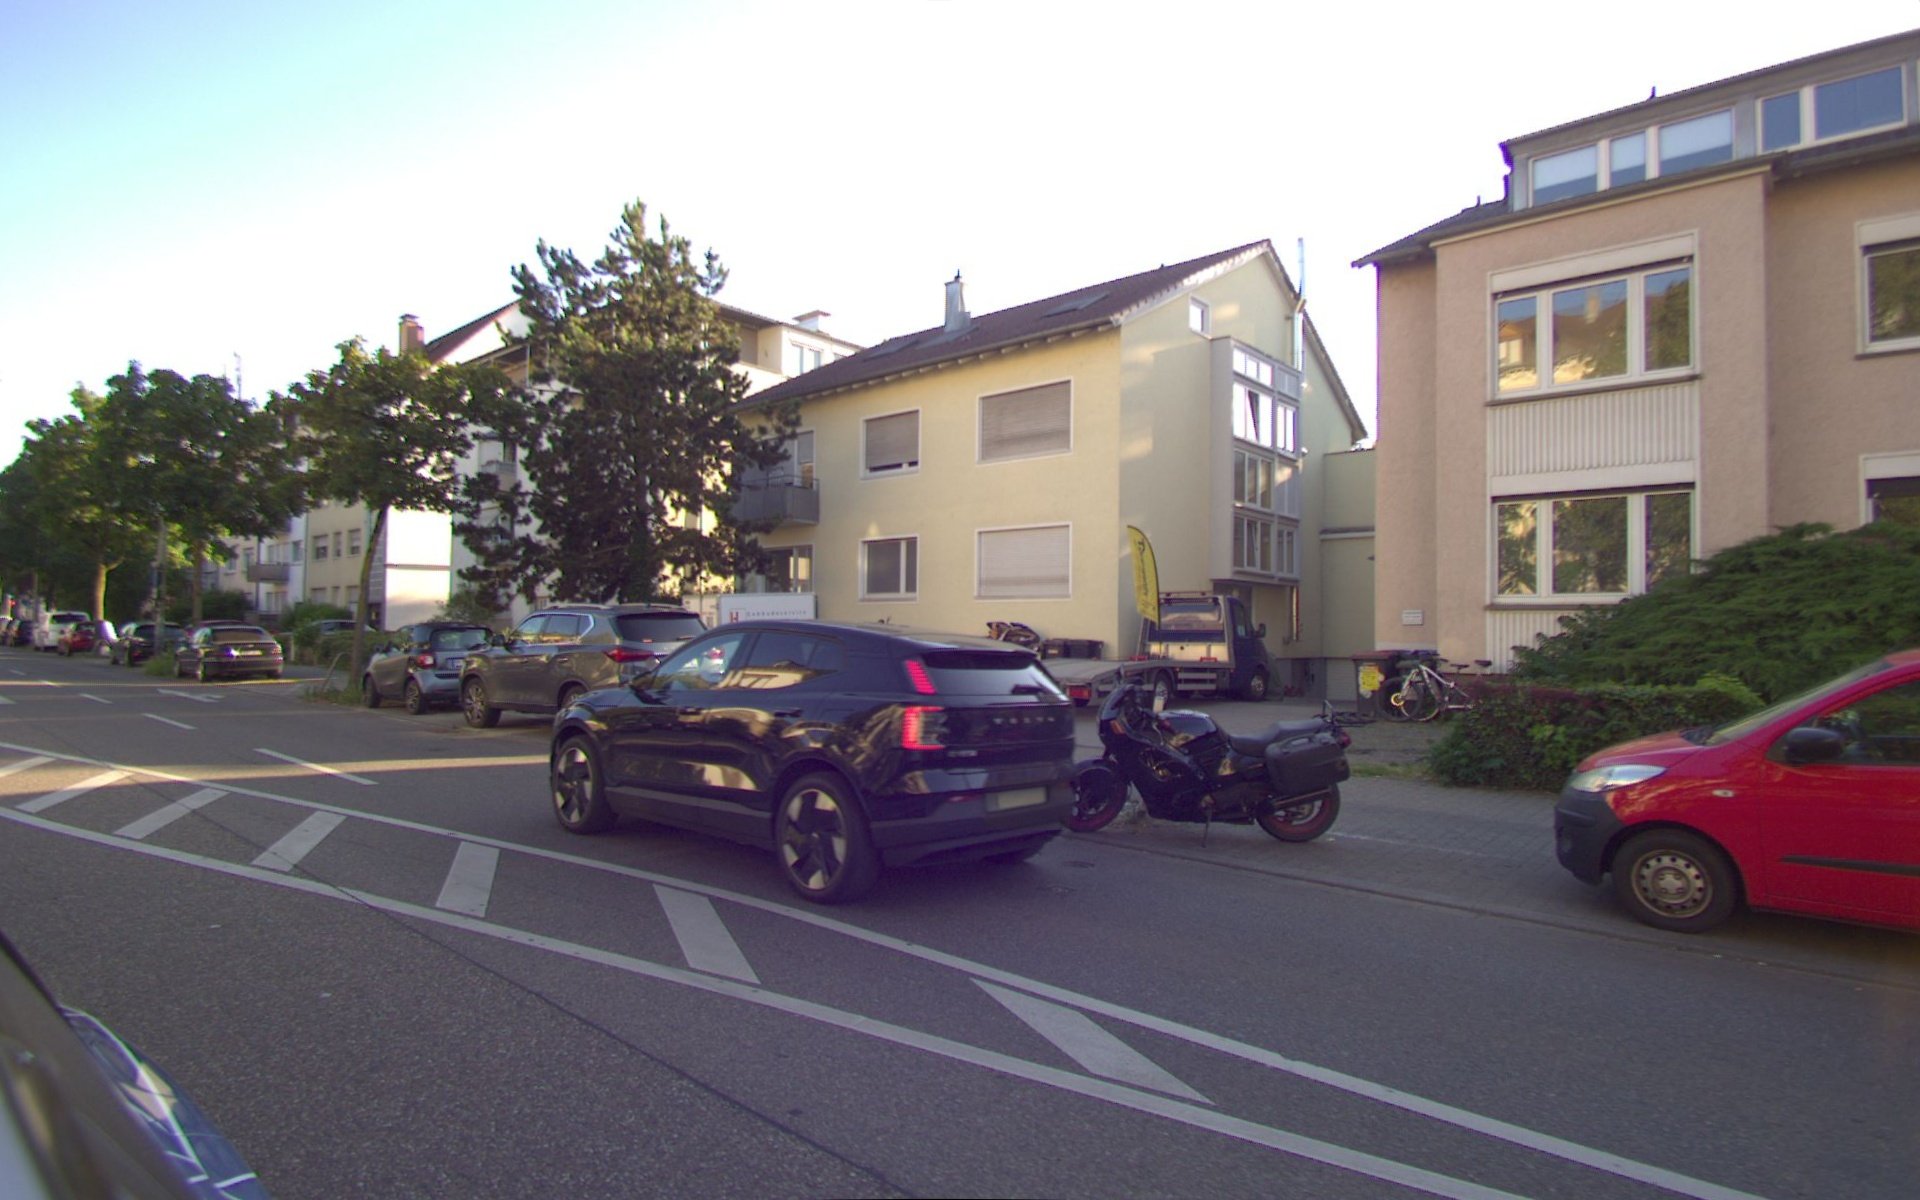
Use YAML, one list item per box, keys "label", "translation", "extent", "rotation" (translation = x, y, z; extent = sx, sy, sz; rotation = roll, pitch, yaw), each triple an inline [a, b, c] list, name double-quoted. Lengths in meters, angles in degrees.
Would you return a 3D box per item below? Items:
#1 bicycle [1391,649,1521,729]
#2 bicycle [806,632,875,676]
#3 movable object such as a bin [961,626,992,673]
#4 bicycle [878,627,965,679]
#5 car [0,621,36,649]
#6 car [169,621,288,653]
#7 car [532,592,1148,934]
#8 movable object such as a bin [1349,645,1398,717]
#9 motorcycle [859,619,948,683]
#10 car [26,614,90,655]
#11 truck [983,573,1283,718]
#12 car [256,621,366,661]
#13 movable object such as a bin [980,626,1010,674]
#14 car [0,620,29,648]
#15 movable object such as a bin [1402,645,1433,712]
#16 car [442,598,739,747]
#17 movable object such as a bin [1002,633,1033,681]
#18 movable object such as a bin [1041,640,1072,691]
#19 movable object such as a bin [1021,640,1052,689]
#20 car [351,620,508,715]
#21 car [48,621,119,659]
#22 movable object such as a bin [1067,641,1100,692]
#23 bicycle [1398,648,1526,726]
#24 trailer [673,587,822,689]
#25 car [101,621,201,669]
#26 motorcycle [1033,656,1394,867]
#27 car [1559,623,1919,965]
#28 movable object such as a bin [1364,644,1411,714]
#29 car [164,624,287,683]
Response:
- label: "bicycle"
  translation: [7.347, 1.296, 15.048]
  extent: [1.710, 1.094, 0.329]
  rotation: [-1, -3, 41]
- label: "bicycle"
  translation: [-3.101, 1.376, 26.120]
  extent: [2.045, 1.072, 0.513]
  rotation: [-1, -2, 41]
- label: "movable object such as a bin"
  translation: [0.369, 1.096, 22.530]
  extent: [0.450, 1.026, 0.497]
  rotation: [-1, -3, 41]
- label: "bicycle"
  translation: [-0.910, 1.201, 23.576]
  extent: [2.257, 1.149, 0.564]
  rotation: [-1, -2, 41]
- label: "car"
  translation: [-50.230, 1.826, 53.761]
  extent: [3.682, 1.416, 1.388]
  rotation: [-1, 0, 43]
- label: "car"
  translation: [-36.429, 1.800, 50.494]
  extent: [1.735, 1.416, 4.515]
  rotation: [-1, 0, 31]
- label: "car"
  translation: [-0.976, 0.820, 6.724]
  extent: [3.998, 1.582, 1.816]
  rotation: [0, -4, 41]
- label: "movable object such as a bin"
  translation: [6.535, 1.268, 16.000]
  extent: [0.586, 1.099, 0.483]
  rotation: [-1, -3, 42]
- label: "motorcycle"
  translation: [-1.294, 1.133, 22.888]
  extent: [2.257, 1.384, 0.564]
  rotation: [-1, -3, 41]
- label: "car"
  translation: [-41.790, 1.565, 46.860]
  extent: [4.190, 1.823, 1.717]
  rotation: [-1, -2, 41]
- label: "truck"
  translation: [3.477, 0.810, 18.725]
  extent: [2.275, 2.202, 6.822]
  rotation: [-1, -2, 41]
- label: "car"
  translation: [-26.094, 1.630, 40.751]
  extent: [1.686, 1.535, 3.421]
  rotation: [-1, -3, 42]
- label: "movable object such as a bin"
  translation: [0.768, 1.089, 22.183]
  extent: [0.450, 1.026, 0.497]
  rotation: [-1, -3, 41]
- label: "car"
  translation: [-53.320, 1.908, 56.737]
  extent: [3.682, 1.475, 1.388]
  rotation: [-1, 0, 43]
- label: "movable object such as a bin"
  translation: [7.321, 1.239, 16.187]
  extent: [0.349, 1.046, 0.430]
  rotation: [-1, -3, 41]
- label: "car"
  translation: [-5.383, 0.928, 14.416]
  extent: [4.723, 1.793, 1.868]
  rotation: [-1, -2, 40]
- label: "movable object such as a bin"
  translation: [1.237, 1.221, 21.839]
  extent: [0.450, 1.026, 0.497]
  rotation: [-1, -3, 41]
- label: "movable object such as a bin"
  translation: [2.016, 1.356, 21.111]
  extent: [0.450, 1.026, 0.497]
  rotation: [-1, -3, 41]
- label: "movable object such as a bin"
  translation: [1.620, 1.358, 21.434]
  extent: [0.450, 1.026, 0.497]
  rotation: [-1, -3, 41]
- label: "car"
  translation: [-9.535, 1.148, 18.161]
  extent: [2.747, 1.567, 1.557]
  rotation: [-1, -2, 40]
- label: "car"
  translation: [-36.544, 1.642, 42.177]
  extent: [3.634, 1.475, 1.717]
  rotation: [-1, -2, 41]
- label: "movable object such as a bin"
  translation: [2.527, 1.348, 20.713]
  extent: [0.450, 1.026, 0.497]
  rotation: [-1, -3, 41]
- label: "bicycle"
  translation: [7.576, 1.296, 15.333]
  extent: [1.710, 1.094, 0.329]
  rotation: [-1, -3, 41]
- label: "trailer"
  translation: [-4.480, 0.808, 21.565]
  extent: [1.551, 2.029, 2.745]
  rotation: [-1, -3, 39]
- label: "car"
  translation: [-27.055, 1.469, 33.806]
  extent: [3.997, 1.497, 1.838]
  rotation: [-1, -3, 40]
- label: "motorcycle"
  translation: [1.813, 1.075, 7.360]
  extent: [2.350, 1.276, 1.176]
  rotation: [0, -2, 18]
- label: "car"
  translation: [5.082, 0.895, 4.951]
  extent: [3.437, 1.535, 1.575]
  rotation: [-1, -2, 44]
- label: "movable object such as a bin"
  translation: [6.963, 1.271, 16.474]
  extent: [0.586, 1.099, 0.483]
  rotation: [-1, -3, 42]
- label: "car"
  translation: [-19.201, 1.340, 26.389]
  extent: [4.442, 1.418, 1.620]
  rotation: [-1, -2, 41]
